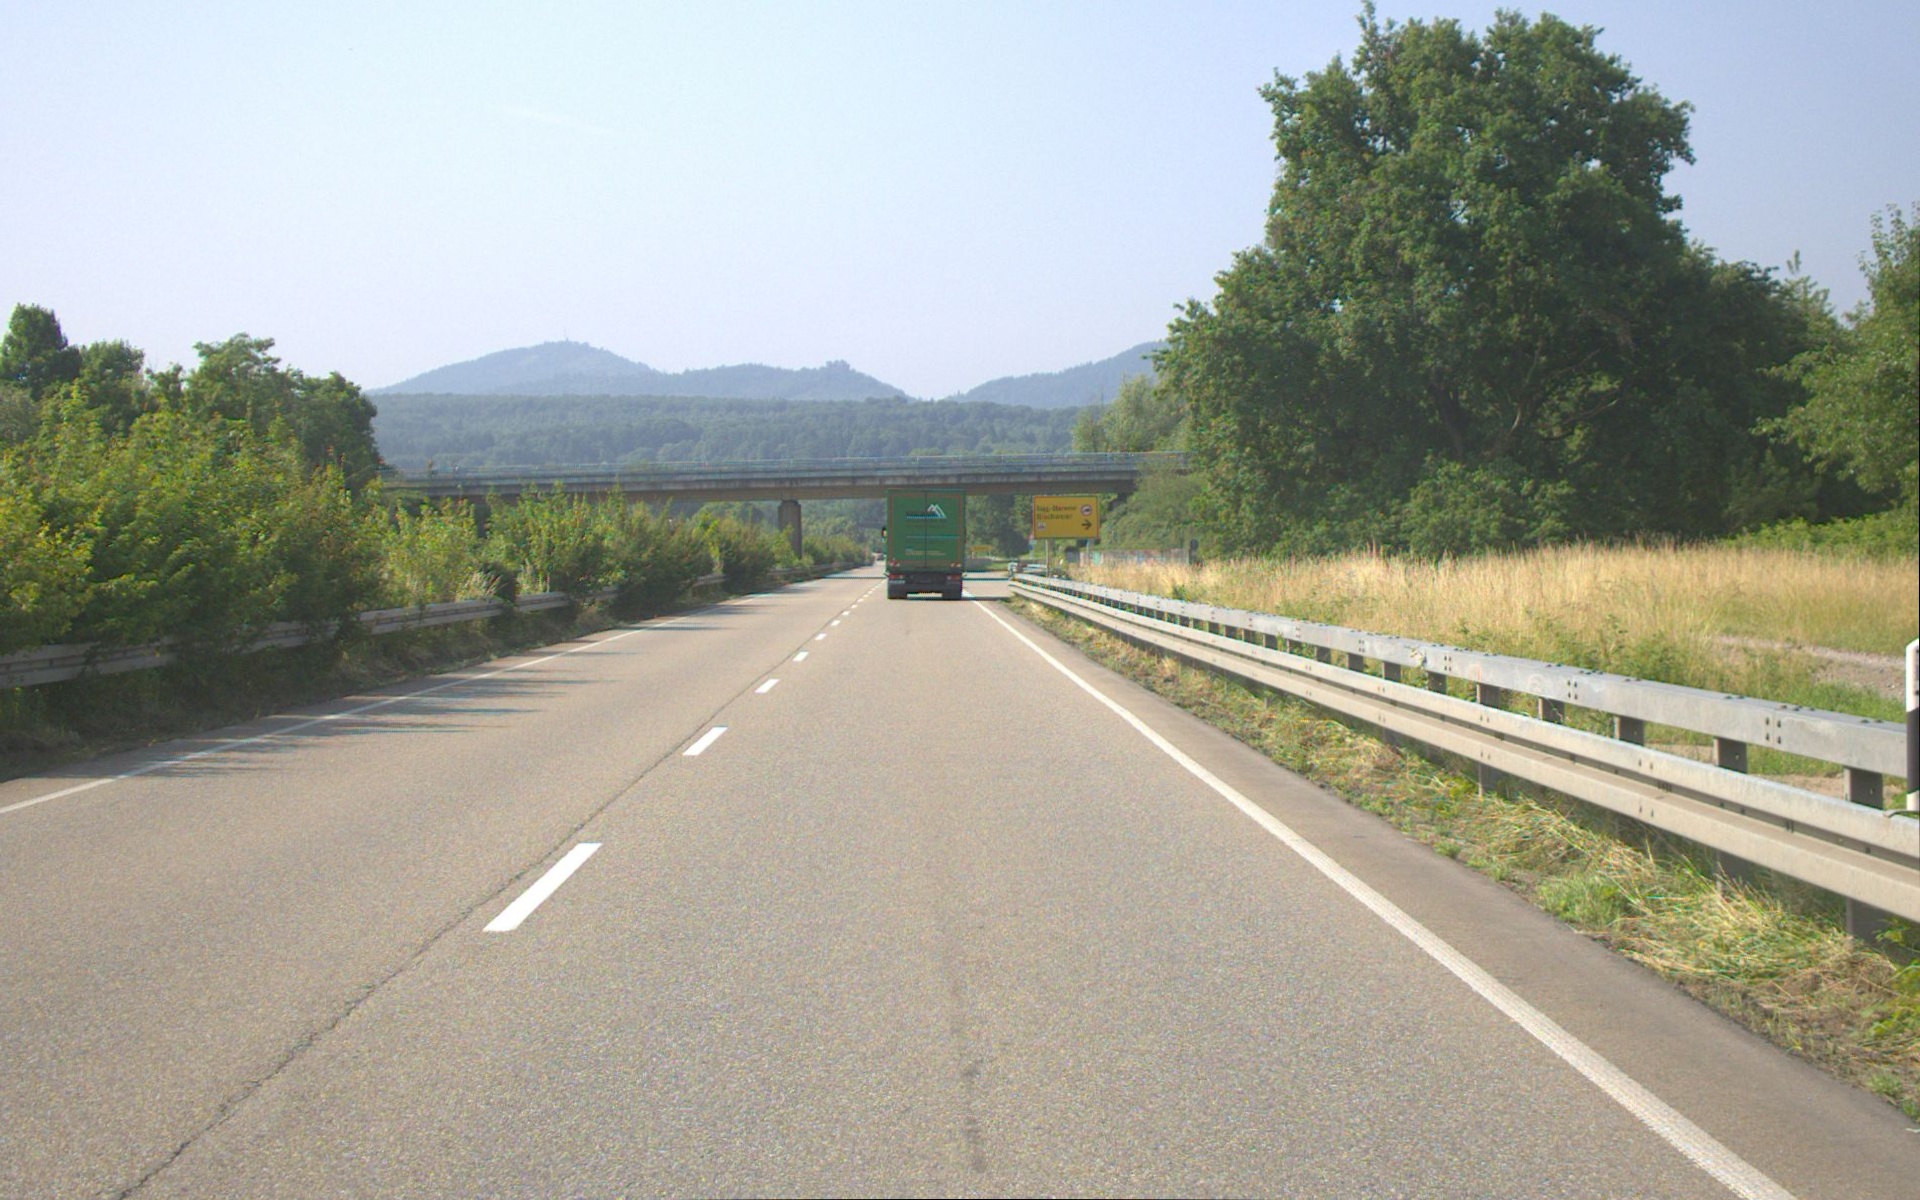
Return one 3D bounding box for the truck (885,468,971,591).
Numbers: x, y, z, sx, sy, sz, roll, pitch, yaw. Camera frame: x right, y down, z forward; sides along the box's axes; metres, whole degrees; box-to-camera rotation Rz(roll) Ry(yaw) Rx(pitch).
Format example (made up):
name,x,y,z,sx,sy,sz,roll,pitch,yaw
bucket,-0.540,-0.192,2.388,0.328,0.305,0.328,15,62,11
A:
name,x,y,z,sx,sy,sz,roll,pitch,yaw
truck,-1.069,-2.456,115.916,2.722,3.952,10.417,1,2,0
